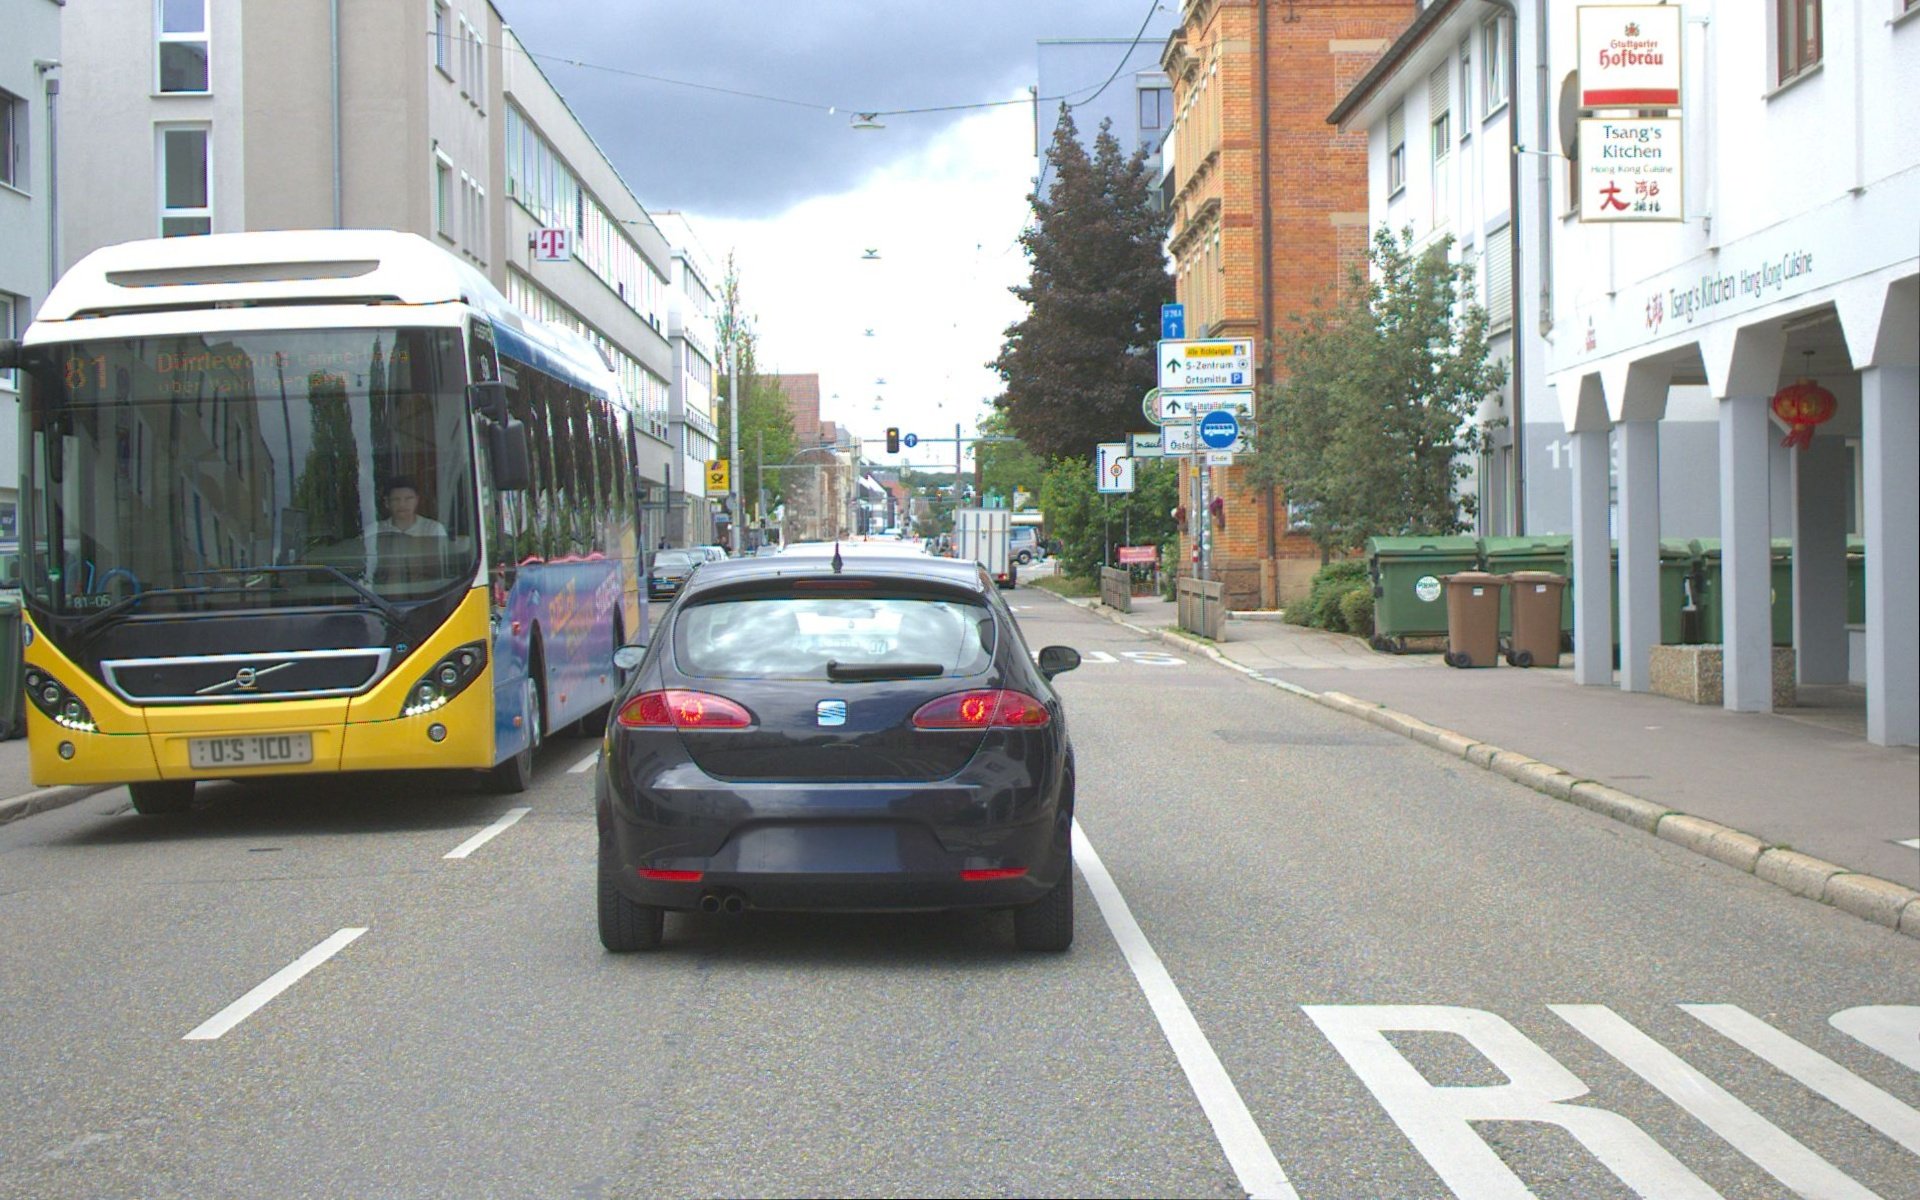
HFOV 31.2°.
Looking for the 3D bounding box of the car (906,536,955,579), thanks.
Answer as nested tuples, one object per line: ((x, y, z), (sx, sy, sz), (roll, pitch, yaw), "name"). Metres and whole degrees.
((-1.161, -1.638, 131.797), (1.803, 1.596, 3.738), (1, 1, -1), "car")

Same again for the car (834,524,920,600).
((-1.797, -0.829, 74.639), (1.803, 1.596, 3.738), (1, 1, -1), "car")

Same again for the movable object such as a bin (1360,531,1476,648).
((5.669, -0.139, 42.623), (1.267, 1.412, 1.162), (0, 1, 0), "movable object such as a bin")

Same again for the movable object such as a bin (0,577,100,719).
((-7.664, 0.393, 28.498), (0.940, 1.147, 0.613), (0, 1, -5), "movable object such as a bin")

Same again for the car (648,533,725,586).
((-8.012, -1.194, 101.008), (1.993, 1.511, 4.175), (-1, 1, -1), "car")

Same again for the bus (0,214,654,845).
((-4.102, -0.494, 24.228), (2.942, 3.262, 12.009), (-2, 1, -1), "bus")

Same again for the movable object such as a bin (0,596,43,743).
((-7.493, 0.524, 26.089), (0.894, 1.085, 0.793), (0, 1, -5), "movable object such as a bin")

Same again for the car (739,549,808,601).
((-5.646, -0.781, 104.357), (1.878, 1.446, 4.214), (-3, 1, -1), "car")

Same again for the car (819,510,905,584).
((-2.114, -1.157, 74.597), (1.803, 1.547, 3.738), (0, 1, -1), "car")

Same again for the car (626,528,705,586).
((-8.125, -1.194, 95.139), (1.912, 1.511, 4.175), (-1, 1, -1), "car")

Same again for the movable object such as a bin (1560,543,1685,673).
((7.378, 0.078, 38.335), (1.209, 1.412, 1.259), (0, 1, 3), "movable object such as a bin")

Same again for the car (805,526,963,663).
((-0.915, -0.095, 41.195), (1.803, 1.547, 3.738), (0, 1, -1), "car")

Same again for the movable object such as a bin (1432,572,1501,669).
((5.694, 0.224, 38.706), (0.683, 1.063, 0.971), (0, 1, 3), "movable object such as a bin")

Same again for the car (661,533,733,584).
((-8.121, -1.299, 106.578), (1.993, 1.511, 4.175), (-1, 1, -1), "car")

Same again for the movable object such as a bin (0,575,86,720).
((-7.607, 0.377, 27.772), (0.948, 1.147, 0.749), (0, 1, -5), "movable object such as a bin")

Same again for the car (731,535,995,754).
((-0.710, 0.274, 25.492), (1.803, 1.487, 3.738), (0, 1, -1), "car")

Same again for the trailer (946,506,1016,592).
((0.626, -1.594, 106.758), (1.993, 2.598, 5.350), (-1, 1, -1), "trailer")

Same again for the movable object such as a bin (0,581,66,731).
((-7.570, 0.429, 26.944), (0.956, 1.147, 0.840), (0, 1, -5), "movable object such as a bin")

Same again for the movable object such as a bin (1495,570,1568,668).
((6.424, 0.206, 38.682), (0.698, 1.075, 0.971), (0, 1, 3), "movable object such as a bin")

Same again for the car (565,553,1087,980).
((-0.480, 0.540, 13.617), (1.765, 1.428, 3.828), (0, 1, -1), "car")

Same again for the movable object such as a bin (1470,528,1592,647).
((7.026, -0.165, 42.366), (1.267, 1.430, 1.307), (0, 1, 0), "movable object such as a bin")

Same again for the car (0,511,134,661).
((-11.733, -0.148, 39.210), (4.163, 1.662, 1.724), (-1, 0, 3), "car")

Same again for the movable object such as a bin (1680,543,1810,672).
((8.742, 0.071, 38.324), (1.209, 1.412, 1.259), (0, 1, 3), "movable object such as a bin")

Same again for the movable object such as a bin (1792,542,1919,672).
((9.999, 0.068, 38.291), (1.209, 1.412, 1.259), (0, 1, 3), "movable object such as a bin")

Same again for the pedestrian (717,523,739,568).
((-9.776, -2.299, 144.849), (0.918, 1.862, 0.783), (0, 1, -1), "pedestrian")
